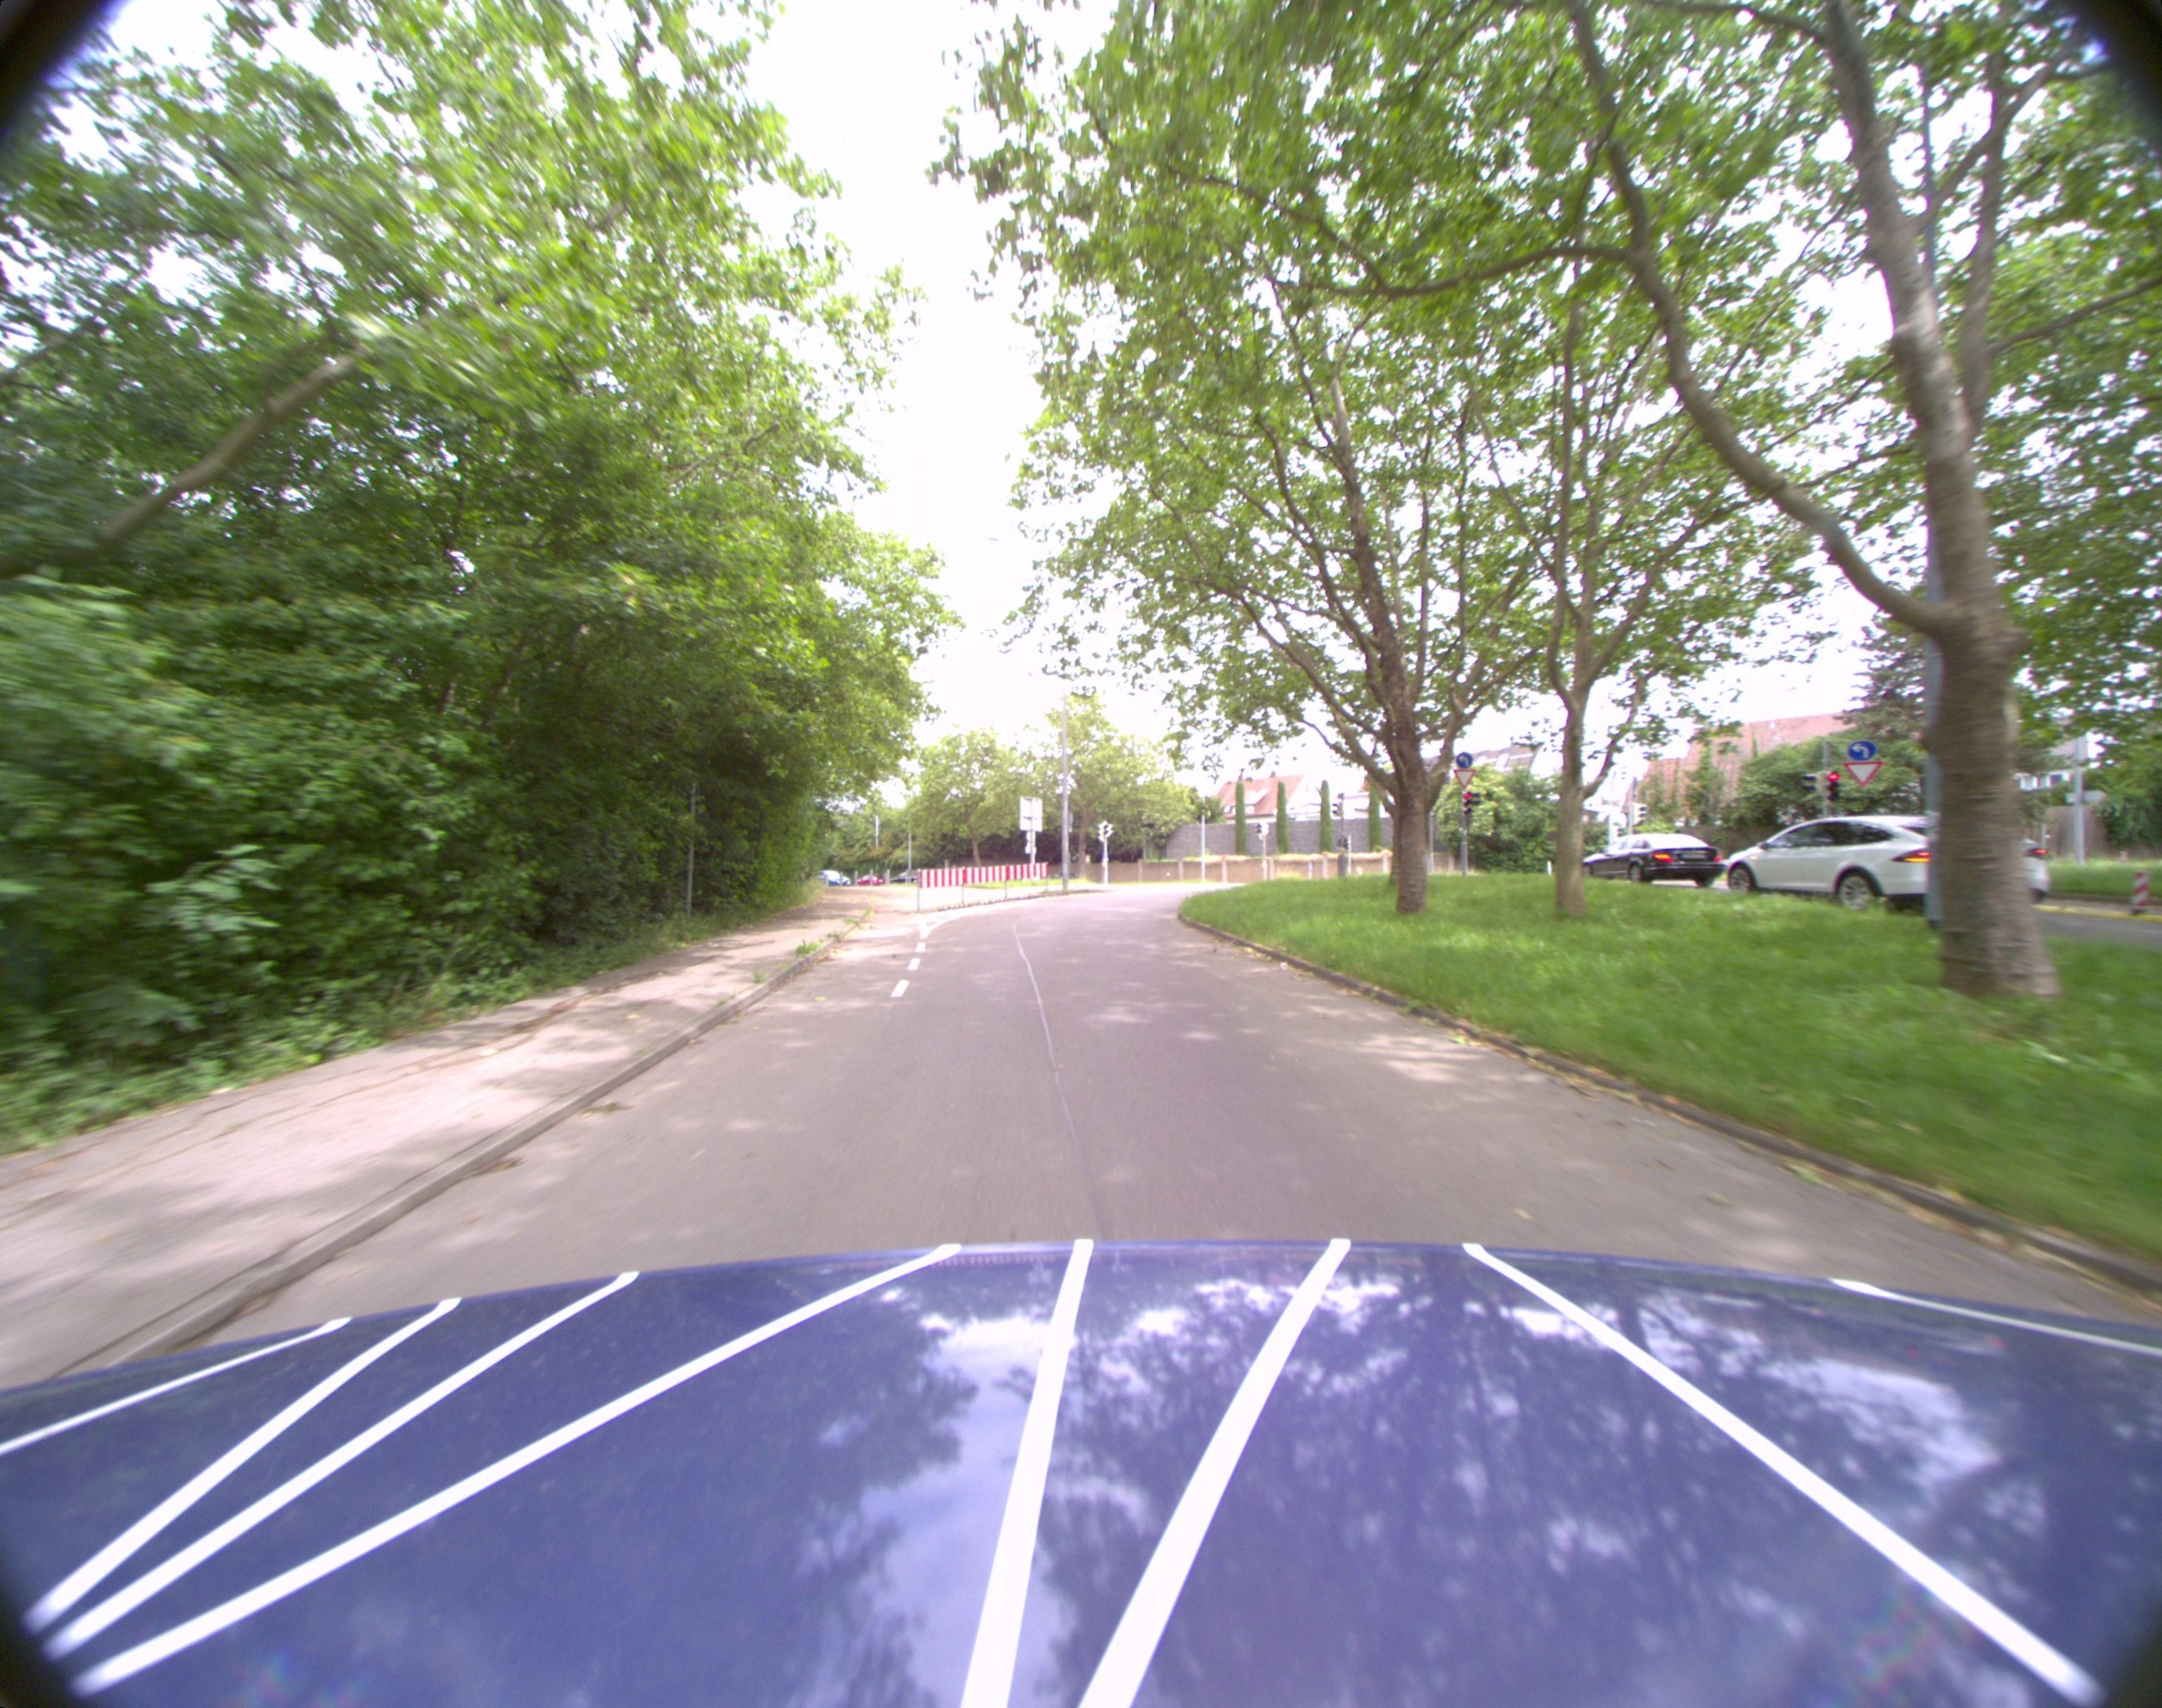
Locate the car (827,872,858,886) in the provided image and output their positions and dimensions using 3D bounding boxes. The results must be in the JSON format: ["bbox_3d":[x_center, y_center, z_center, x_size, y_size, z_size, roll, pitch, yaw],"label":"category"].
[{"bbox_3d":[-27.888,2.921,88.726,3.821,1.495,1.691,-2,-4,41],"label":"car"}]

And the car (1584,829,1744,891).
[{"bbox_3d":[15.784,0.120,20.873,1.760,1.508,4.390,-1,1,12],"label":"car"}]

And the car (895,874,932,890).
[{"bbox_3d":[-17.503,2.940,79.425,4.027,1.593,1.801,-2,-2,42],"label":"car"}]

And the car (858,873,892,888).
[{"bbox_3d":[-22.898,2.957,84.408,3.821,1.495,1.691,-2,-4,41],"label":"car"}]

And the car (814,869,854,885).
[{"bbox_3d":[-23.685,2.228,72.797,4.136,1.419,1.802,-2,-4,42],"label":"car"}]

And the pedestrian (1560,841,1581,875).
[{"bbox_3d":[28.926,0.245,44.897,0.853,2.001,0.954,-2,-1,21],"label":"pedestrian"}]

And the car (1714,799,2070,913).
[{"bbox_3d":[13.956,0.102,13.647,1.854,1.648,4.912,-1,-2,12],"label":"car"}]
